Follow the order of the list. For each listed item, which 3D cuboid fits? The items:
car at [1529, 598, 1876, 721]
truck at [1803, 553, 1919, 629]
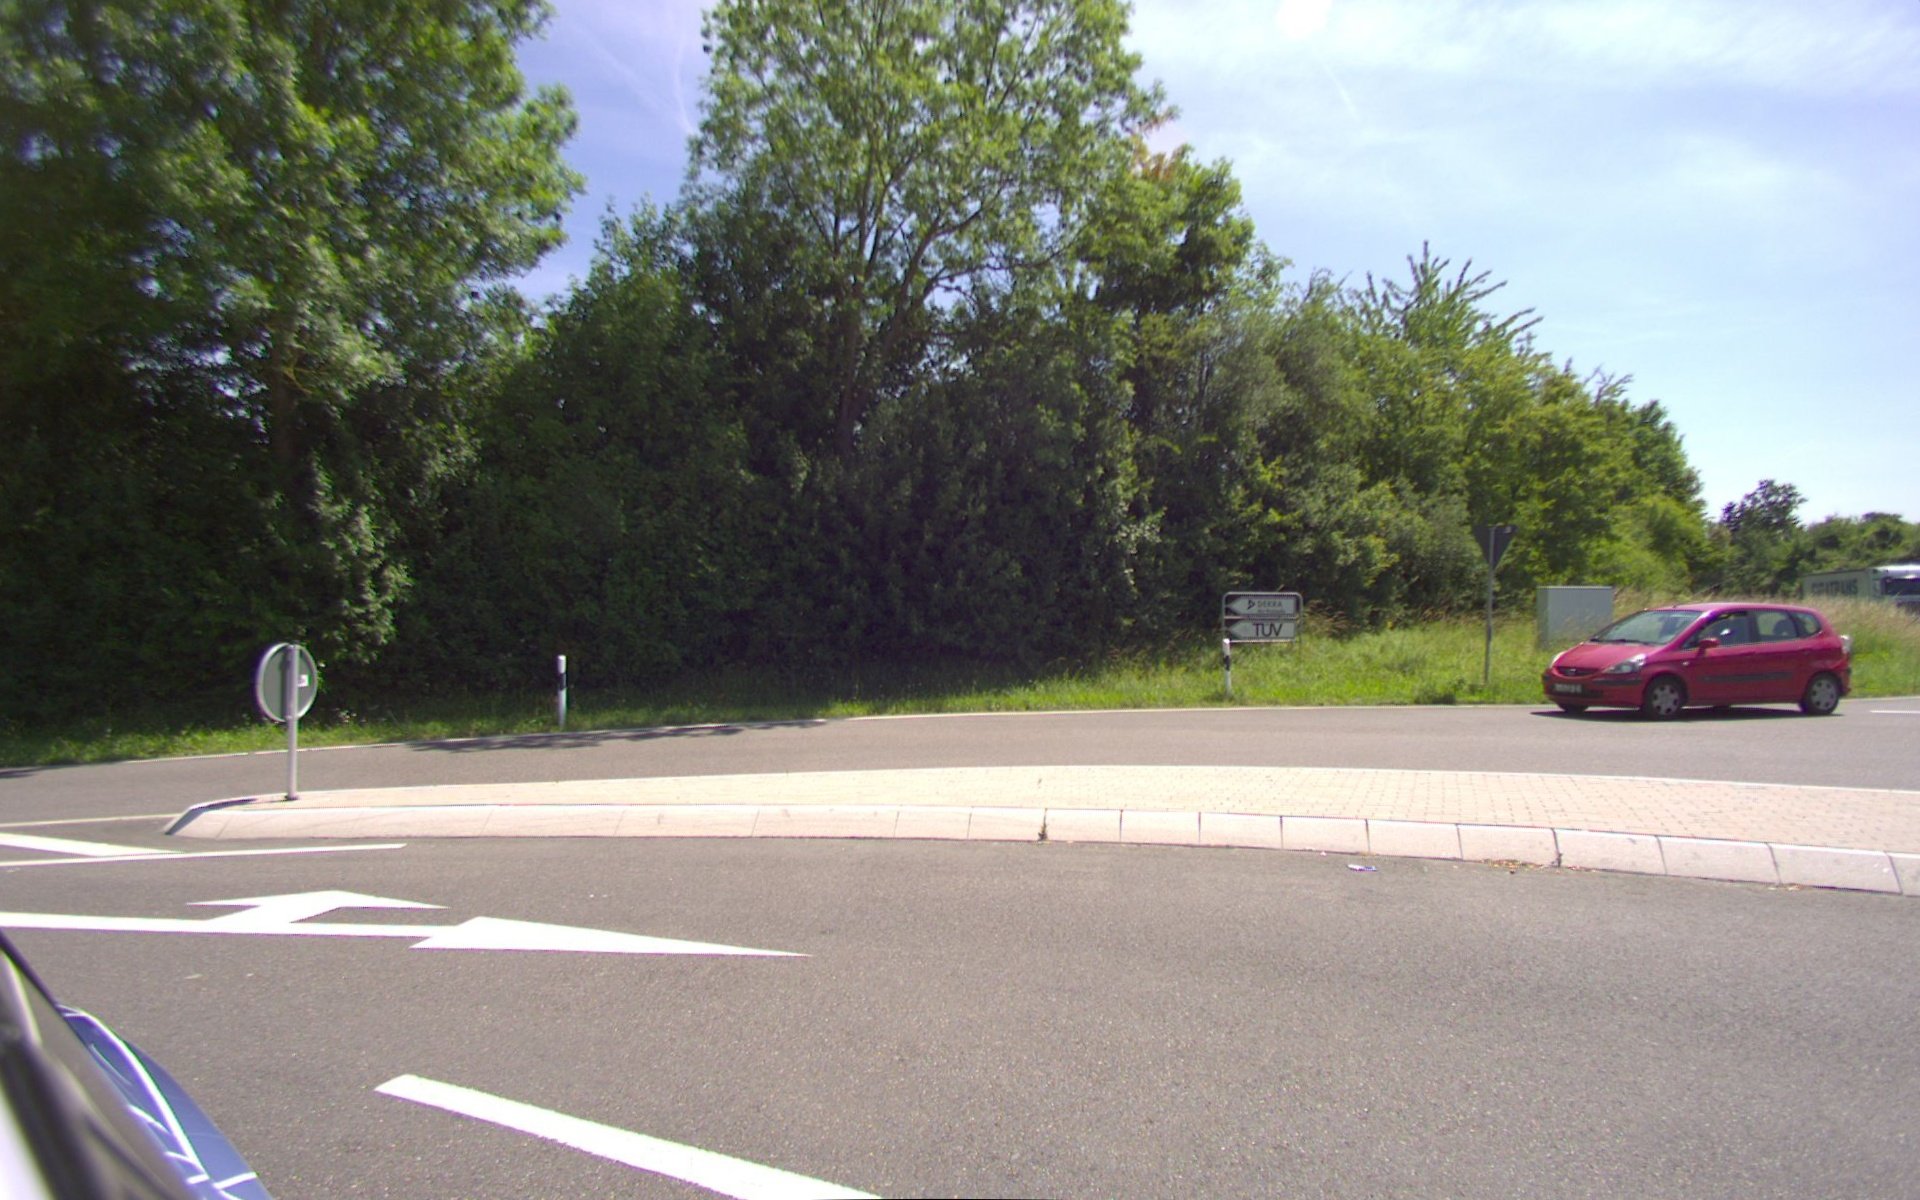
[{"bbox_3d":[9.976,0.755,13.702,3.771,1.510,1.553,-1,-1,-10],"label":"car"},{"bbox_3d":[61.534,-0.403,68.205,3.128,4.480,16.309,-3,-2,26],"label":"truck"}]
